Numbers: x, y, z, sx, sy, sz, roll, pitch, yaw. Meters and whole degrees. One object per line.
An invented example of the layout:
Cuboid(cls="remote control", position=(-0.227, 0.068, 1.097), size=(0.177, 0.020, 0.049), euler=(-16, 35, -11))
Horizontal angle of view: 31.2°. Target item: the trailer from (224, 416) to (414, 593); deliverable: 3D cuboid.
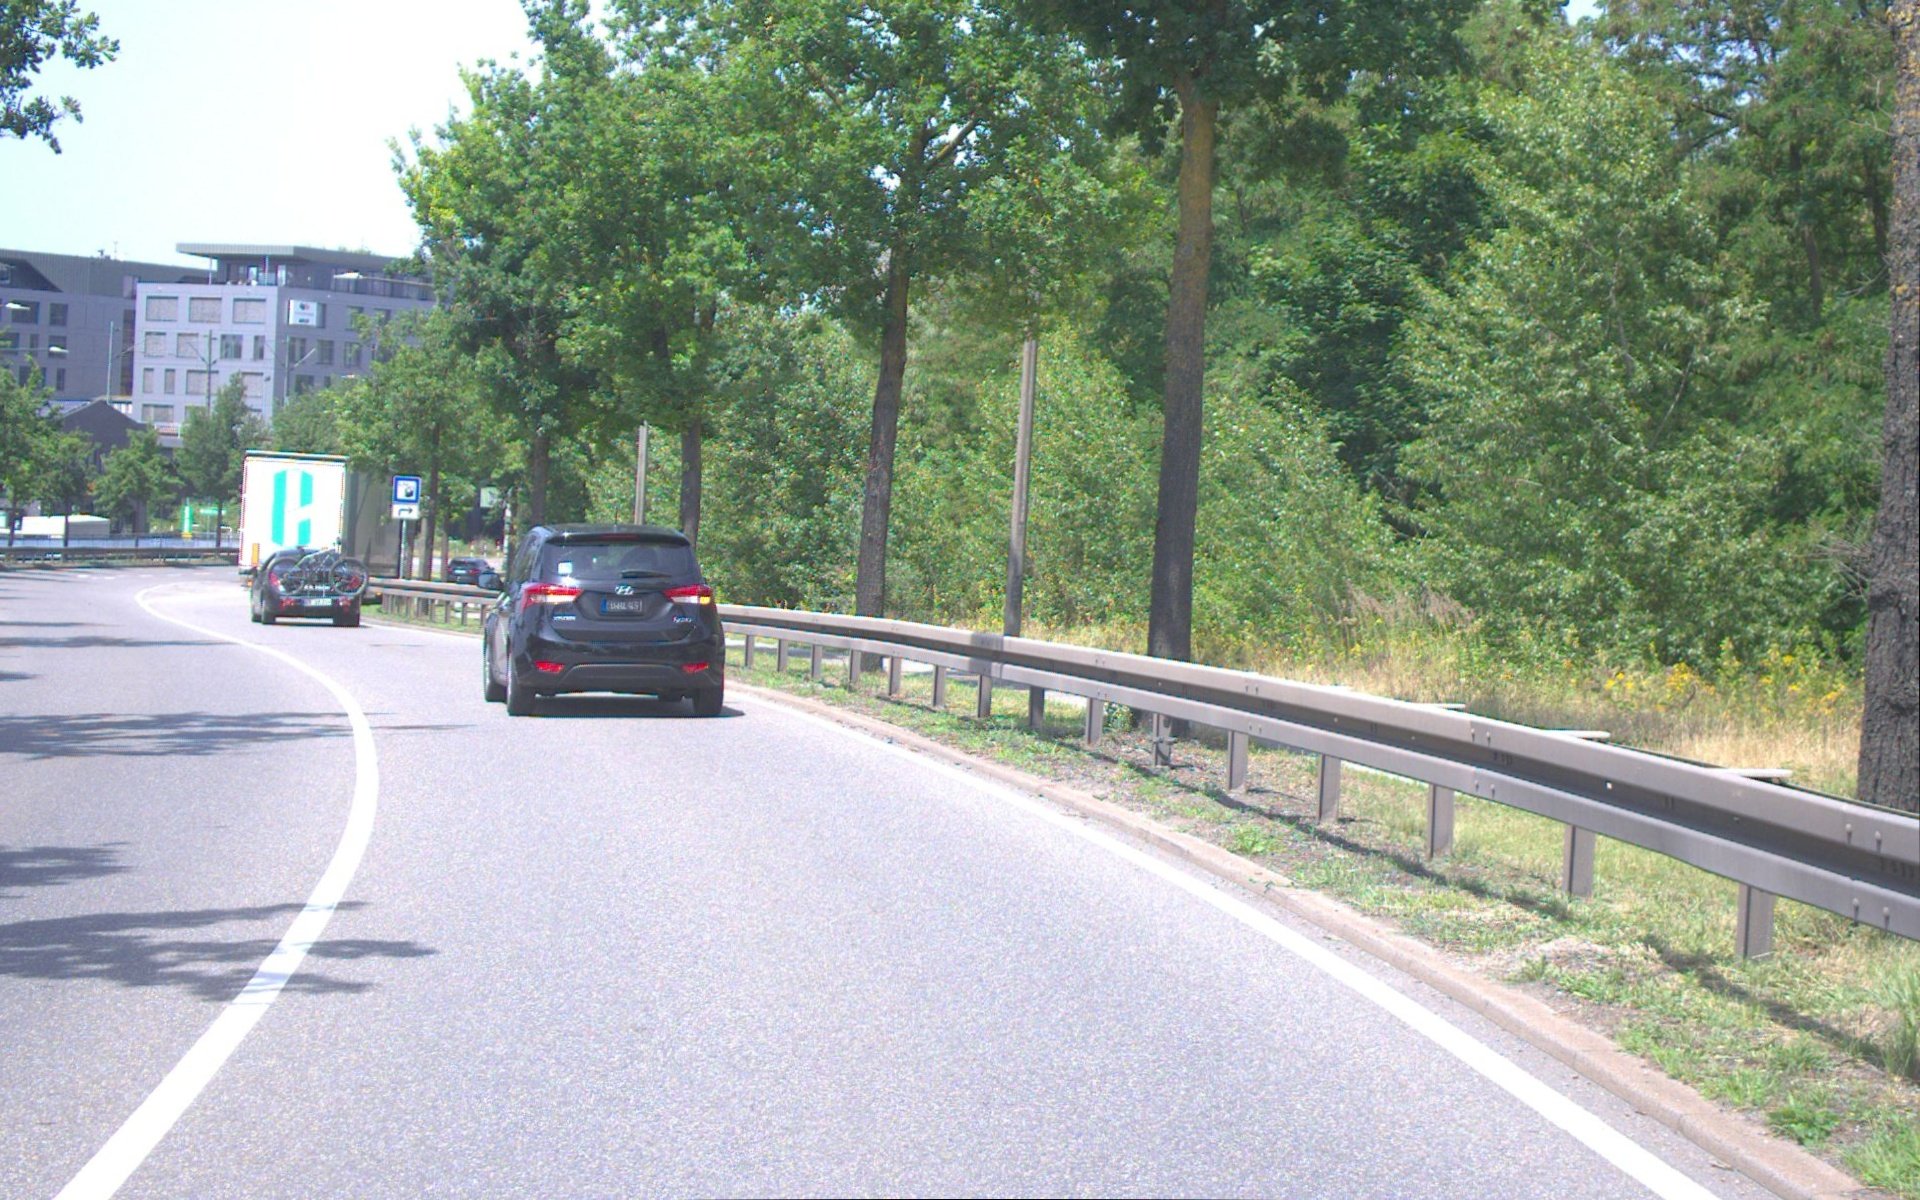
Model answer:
Cuboid(cls="trailer", position=(-17.427, -2.658, 94.564), size=(3.078, 4.353, 14.777), euler=(3, 2, -3))

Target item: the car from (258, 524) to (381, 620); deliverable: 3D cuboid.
Cuboid(cls="car", position=(-11.825, -0.528, 63.294), size=(1.956, 1.628, 4.281), euler=(2, 0, -14))

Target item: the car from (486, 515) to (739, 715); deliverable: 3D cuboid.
Cuboid(cls="car", position=(-3.058, 0.080, 29.571), size=(1.766, 1.593, 4.079), euler=(0, 1, -11))
